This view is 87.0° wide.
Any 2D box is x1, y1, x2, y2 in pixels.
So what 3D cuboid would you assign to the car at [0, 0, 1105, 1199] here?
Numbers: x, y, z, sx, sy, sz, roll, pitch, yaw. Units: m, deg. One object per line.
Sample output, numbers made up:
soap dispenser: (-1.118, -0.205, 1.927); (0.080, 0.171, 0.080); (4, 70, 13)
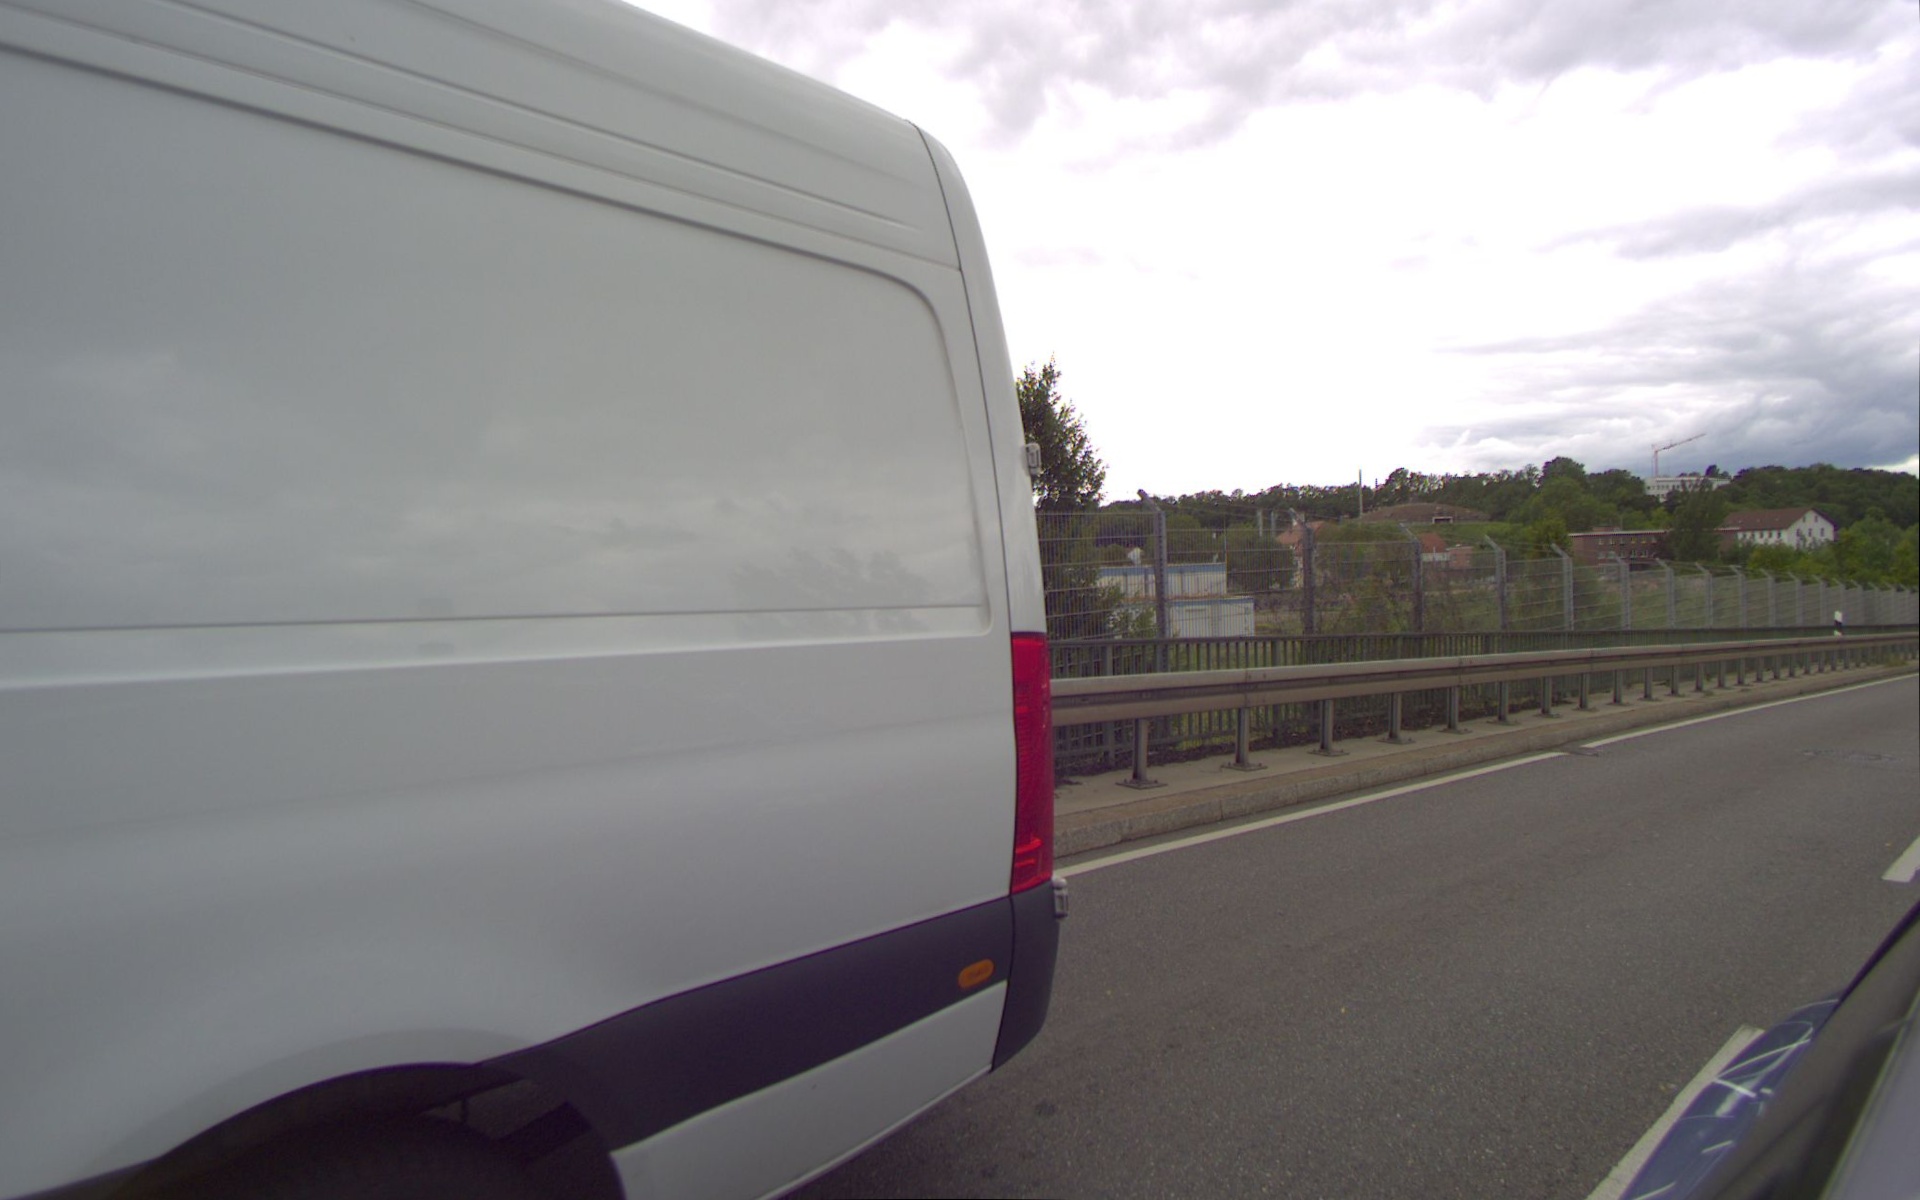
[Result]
car: (-2.848, 0.080, 0.818); (6.663, 2.819, 2.113); (0, 0, -42)
